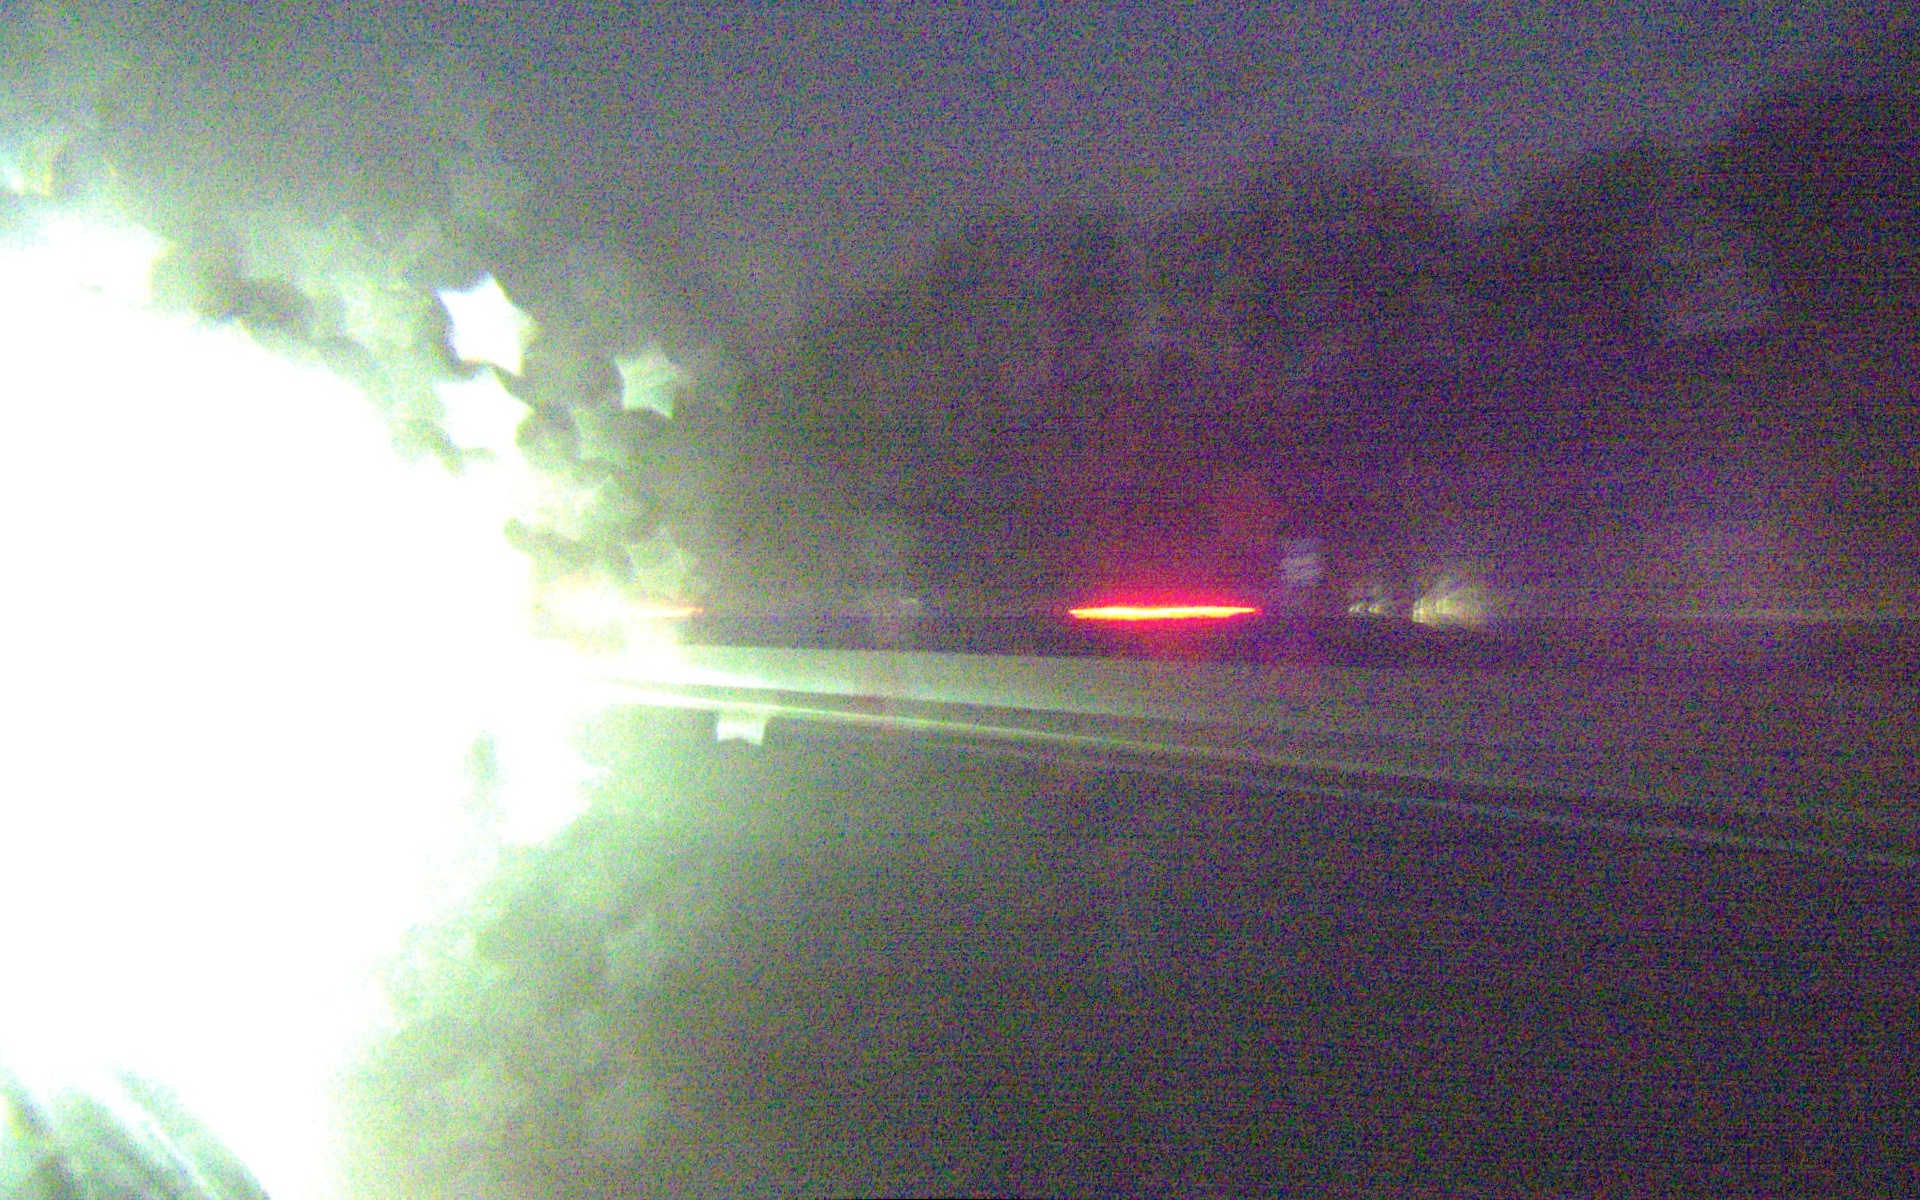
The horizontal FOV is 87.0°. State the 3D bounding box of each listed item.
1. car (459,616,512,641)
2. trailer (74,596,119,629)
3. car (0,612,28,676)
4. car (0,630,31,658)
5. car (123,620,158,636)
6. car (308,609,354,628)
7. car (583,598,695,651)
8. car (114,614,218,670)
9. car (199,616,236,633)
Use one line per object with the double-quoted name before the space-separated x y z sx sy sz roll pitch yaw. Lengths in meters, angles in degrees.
"car" -29.829 1.780 63.574 4.000 1.475 1.689 -1 0 43
"trailer" -145.688 2.087 170.724 8.994 5.178 4.295 -1 3 42
"car" -27.217 1.180 28.083 1.970 1.689 4.004 0 0 -43
"car" -62.620 2.885 66.564 4.001 1.689 1.971 -1 0 44
"car" -79.107 2.691 97.719 3.997 1.475 1.951 -1 0 41
"car" -52.387 1.490 84.232 5.036 1.475 1.769 -1 1 41
"car" -11.148 0.832 35.046 3.997 1.674 1.815 -1 1 41
"car" -25.452 1.284 32.412 2.277 1.621 3.874 0 0 -44
"car" -69.359 2.295 94.550 3.997 1.475 1.940 -1 1 41
